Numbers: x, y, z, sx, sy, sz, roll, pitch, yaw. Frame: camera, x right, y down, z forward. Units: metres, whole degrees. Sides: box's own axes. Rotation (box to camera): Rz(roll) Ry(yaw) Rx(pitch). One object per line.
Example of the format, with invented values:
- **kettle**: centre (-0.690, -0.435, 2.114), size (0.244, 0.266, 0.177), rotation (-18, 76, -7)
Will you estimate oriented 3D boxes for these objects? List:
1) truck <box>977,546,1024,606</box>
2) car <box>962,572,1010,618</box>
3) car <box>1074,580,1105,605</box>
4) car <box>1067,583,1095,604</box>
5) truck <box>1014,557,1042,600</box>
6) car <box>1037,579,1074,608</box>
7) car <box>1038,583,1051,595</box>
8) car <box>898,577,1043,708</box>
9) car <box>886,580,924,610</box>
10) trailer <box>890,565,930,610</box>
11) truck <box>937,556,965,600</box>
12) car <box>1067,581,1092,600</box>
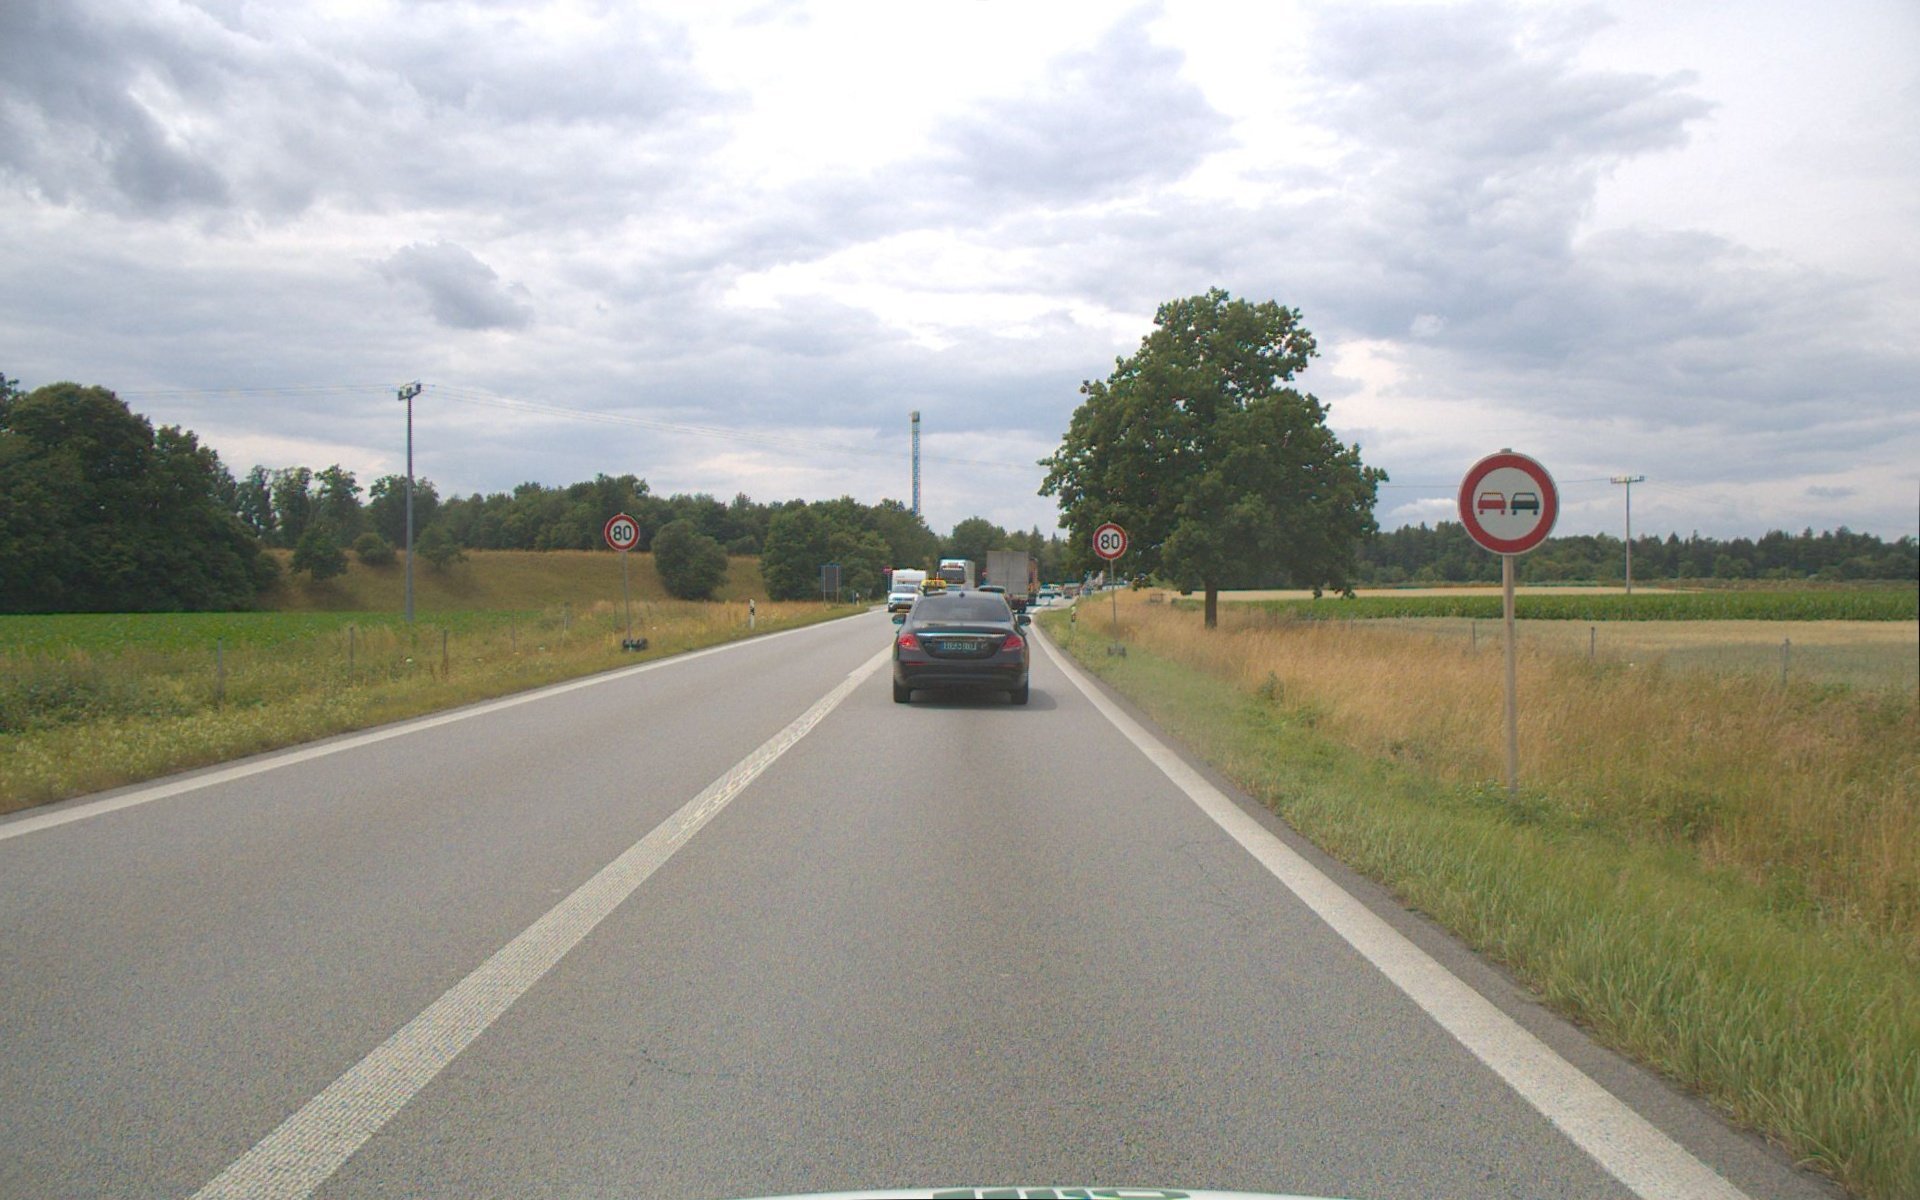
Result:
- **truck**: centre (2.556, -1.448, 102.348), size (2.532, 3.586, 4.815), rotation (2, 0, 5)
- **car**: centre (1.206, -0.213, 77.484), size (1.954, 2.049, 3.998), rotation (2, 0, -3)
- **car**: centre (9.401, -0.546, 120.195), size (1.760, 1.691, 3.998), rotation (2, 0, -3)
- **car**: centre (9.854, -0.520, 135.038), size (1.760, 1.691, 3.998), rotation (2, 0, -3)
- **truck**: centre (5.935, -1.828, 143.932), size (1.954, 3.587, 4.590), rotation (2, 0, -3)
- **car**: centre (5.800, -0.383, 100.796), size (1.760, 1.691, 3.998), rotation (2, 0, -3)
- **car**: centre (10.873, -1.418, 212.831), size (1.615, 1.420, 3.707), rotation (2, 0, 2)
- **car**: centre (0.060, 0.531, 22.727), size (1.760, 1.587, 3.998), rotation (2, 0, -3)
- **car**: centre (-3.159, -0.277, 96.141), size (1.965, 1.686, 4.327), rotation (2, 0, 1)
- **trailer**: centre (-3.025, -0.728, 101.435), size (2.137, 2.620, 6.244), rotation (2, 0, 1)
- **truck**: centre (-0.797, -2.060, 155.823), size (2.438, 4.065, 5.206), rotation (1, 1, 2)
- **car**: centre (10.712, -0.839, 148.693), size (1.760, 1.691, 3.998), rotation (2, 0, -3)
